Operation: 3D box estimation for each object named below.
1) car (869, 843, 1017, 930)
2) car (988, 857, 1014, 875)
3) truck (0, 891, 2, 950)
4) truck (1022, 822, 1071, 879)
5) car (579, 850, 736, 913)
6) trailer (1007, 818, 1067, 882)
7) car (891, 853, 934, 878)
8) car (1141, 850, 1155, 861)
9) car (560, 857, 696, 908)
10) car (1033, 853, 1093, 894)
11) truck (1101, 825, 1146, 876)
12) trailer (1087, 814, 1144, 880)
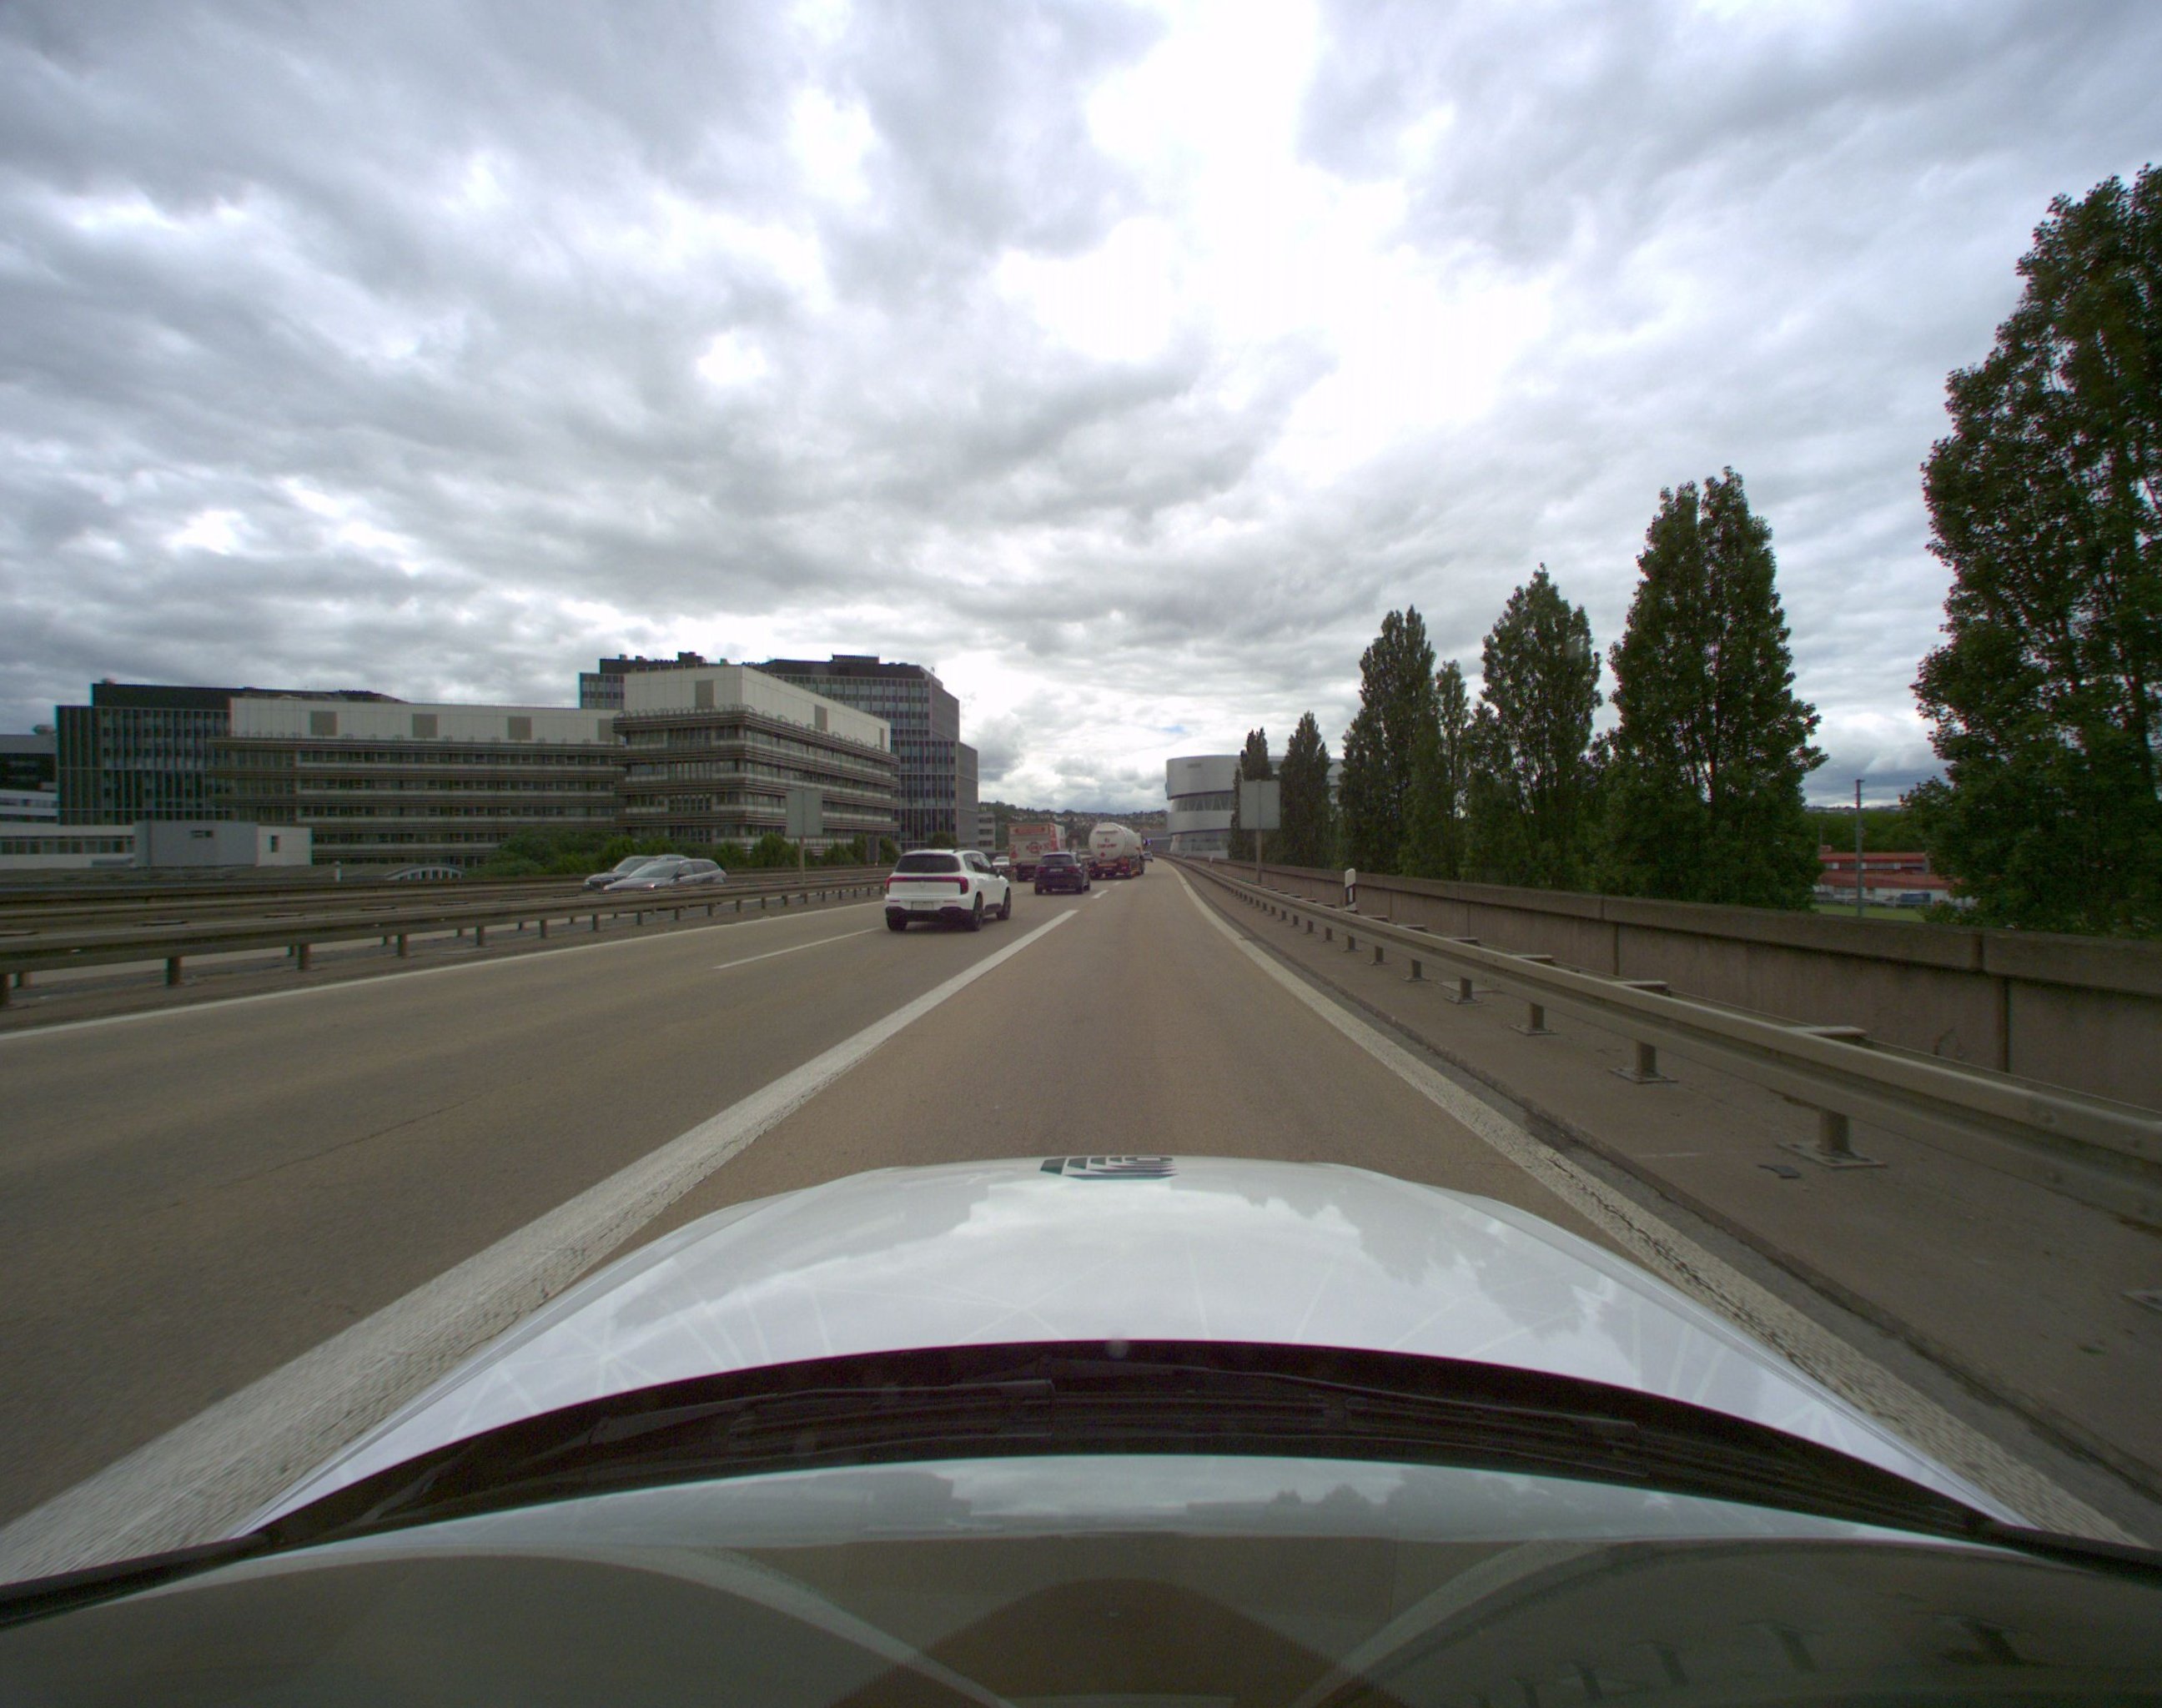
[{"bbox_3d":[-2.849,0.650,18.083,1.983,1.668,4.900,-1,0,6],"label":"car"},{"bbox_3d":[-7.451,1.086,76.442,1.741,1.560,4.004,-2,0,4],"label":"car"},{"bbox_3d":[-18.277,0.225,8.958,2.477,2.626,7.364,-3,0,8],"label":"truck"},{"bbox_3d":[-2.347,-0.238,56.519,2.678,3.690,4.446,-2,0,5],"label":"truck"},{"bbox_3d":[-12.600,0.751,24.618,1.983,1.636,4.461,-2,0,6],"label":"car"},{"bbox_3d":[-2.701,-0.242,52.396,2.678,3.690,7.323,-2,0,5],"label":"trailer"},{"bbox_3d":[-12.601,0.842,61.180,1.858,1.711,4.607,-2,0,4],"label":"car"},{"bbox_3d":[11.031,0.289,133.927,1.982,1.538,4.009,5,0,8],"label":"car"},{"bbox_3d":[-16.496,0.983,29.984,1.983,1.636,4.639,-2,0,6],"label":"car"},{"bbox_3d":[-0.647,0.749,32.525,1.837,1.505,4.273,0,0,7],"label":"car"},{"bbox_3d":[3.196,-0.268,59.533,2.755,3.430,5.976,-2,0,6],"label":"truck"},{"bbox_3d":[2.433,-0.434,53.031,2.777,3.737,11.176,-2,0,7],"label":"trailer"}]
